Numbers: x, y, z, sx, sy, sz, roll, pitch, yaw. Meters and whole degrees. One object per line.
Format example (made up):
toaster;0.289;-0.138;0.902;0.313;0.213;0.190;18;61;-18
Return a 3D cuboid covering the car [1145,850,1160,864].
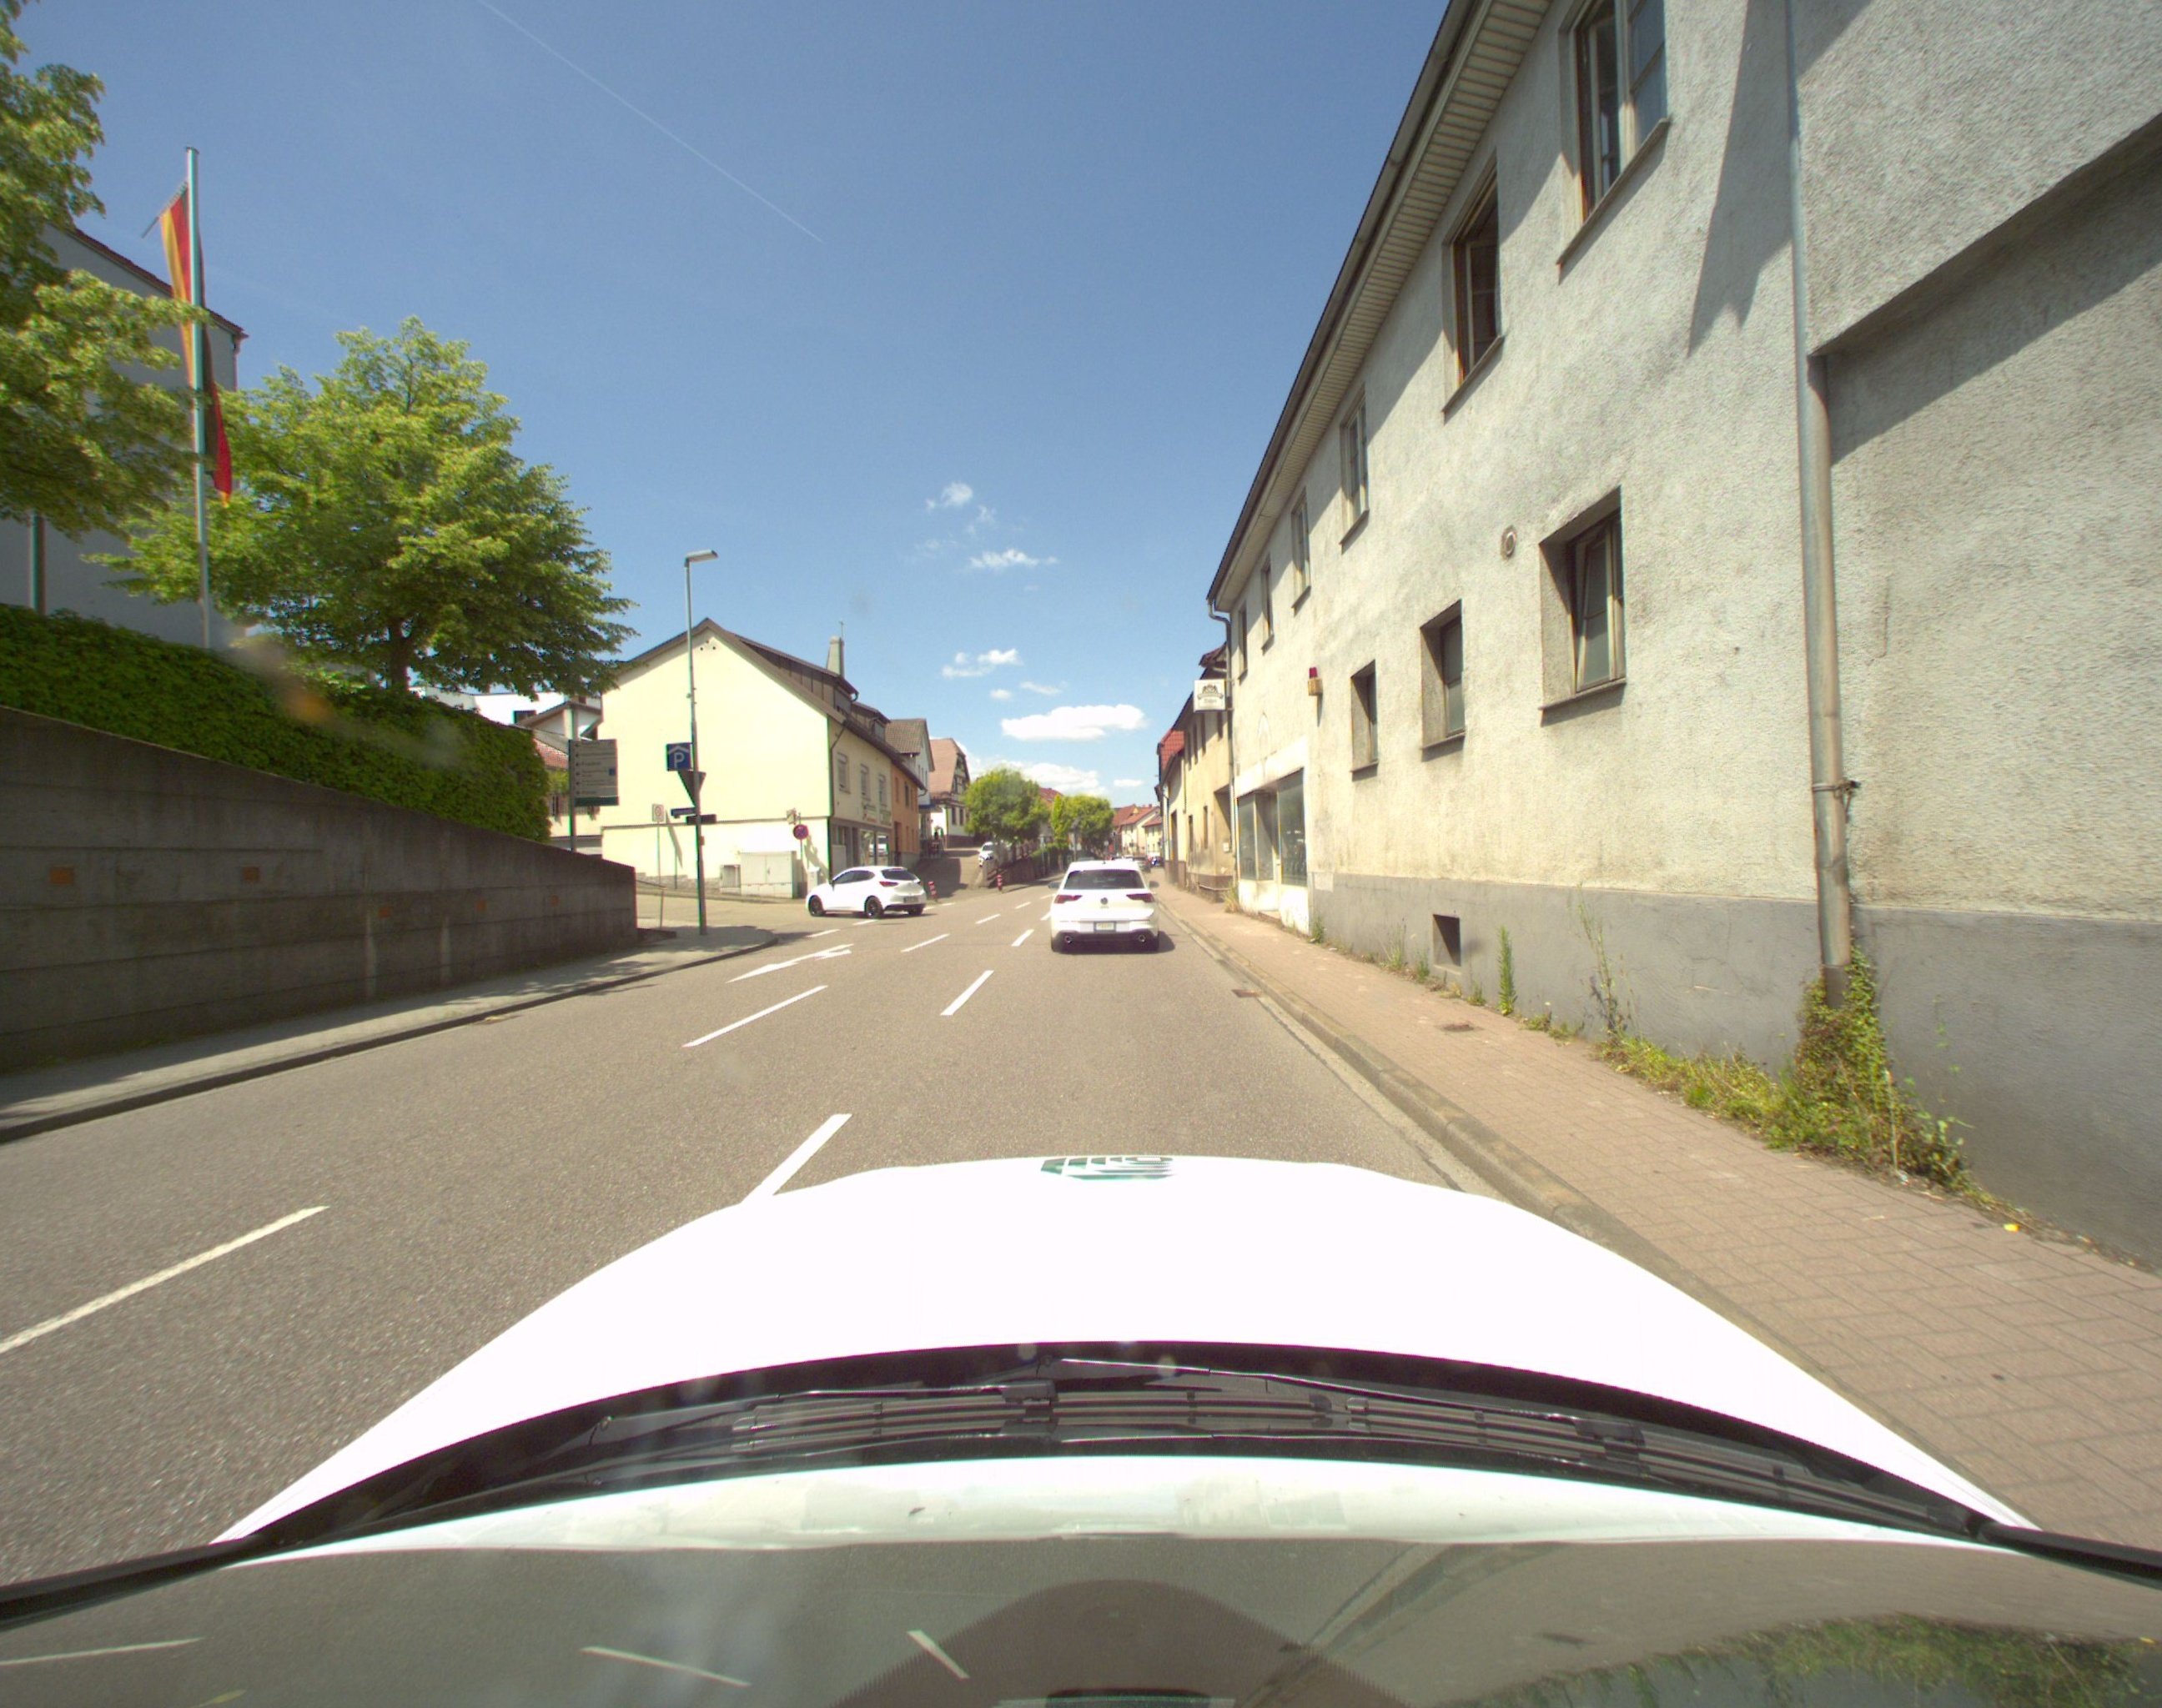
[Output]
car;10.113;0.413;114.980;1.766;1.765;4.008;-2;0;7

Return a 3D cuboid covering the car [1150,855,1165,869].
car;9.388;0.946;99.433;1.766;1.538;4.007;-2;0;6

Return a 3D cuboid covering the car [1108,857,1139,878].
car;3.023;0.933;57.434;1.797;1.467;4.009;0;-1;8

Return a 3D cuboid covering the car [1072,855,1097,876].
car;0.332;0.918;68.976;1.750;1.635;4.054;-3;0;4

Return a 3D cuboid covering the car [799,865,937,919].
car;-6.278;1.055;23.904;3.948;1.467;1.825;-1;-1;36

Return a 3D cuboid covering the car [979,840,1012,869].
car;-5.830;-0.013;55.805;1.687;1.542;3.859;-2;5;1

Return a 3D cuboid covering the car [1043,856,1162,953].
car;0.456;0.786;14.385;1.800;1.467;4.004;0;-1;3

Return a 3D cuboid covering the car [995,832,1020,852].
car;-6.121;-1.029;68.110;1.571;1.361;3.859;-2;5;1

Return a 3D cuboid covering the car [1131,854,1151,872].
car;5.598;0.797;75.819;1.767;1.538;4.006;-2;0;5
